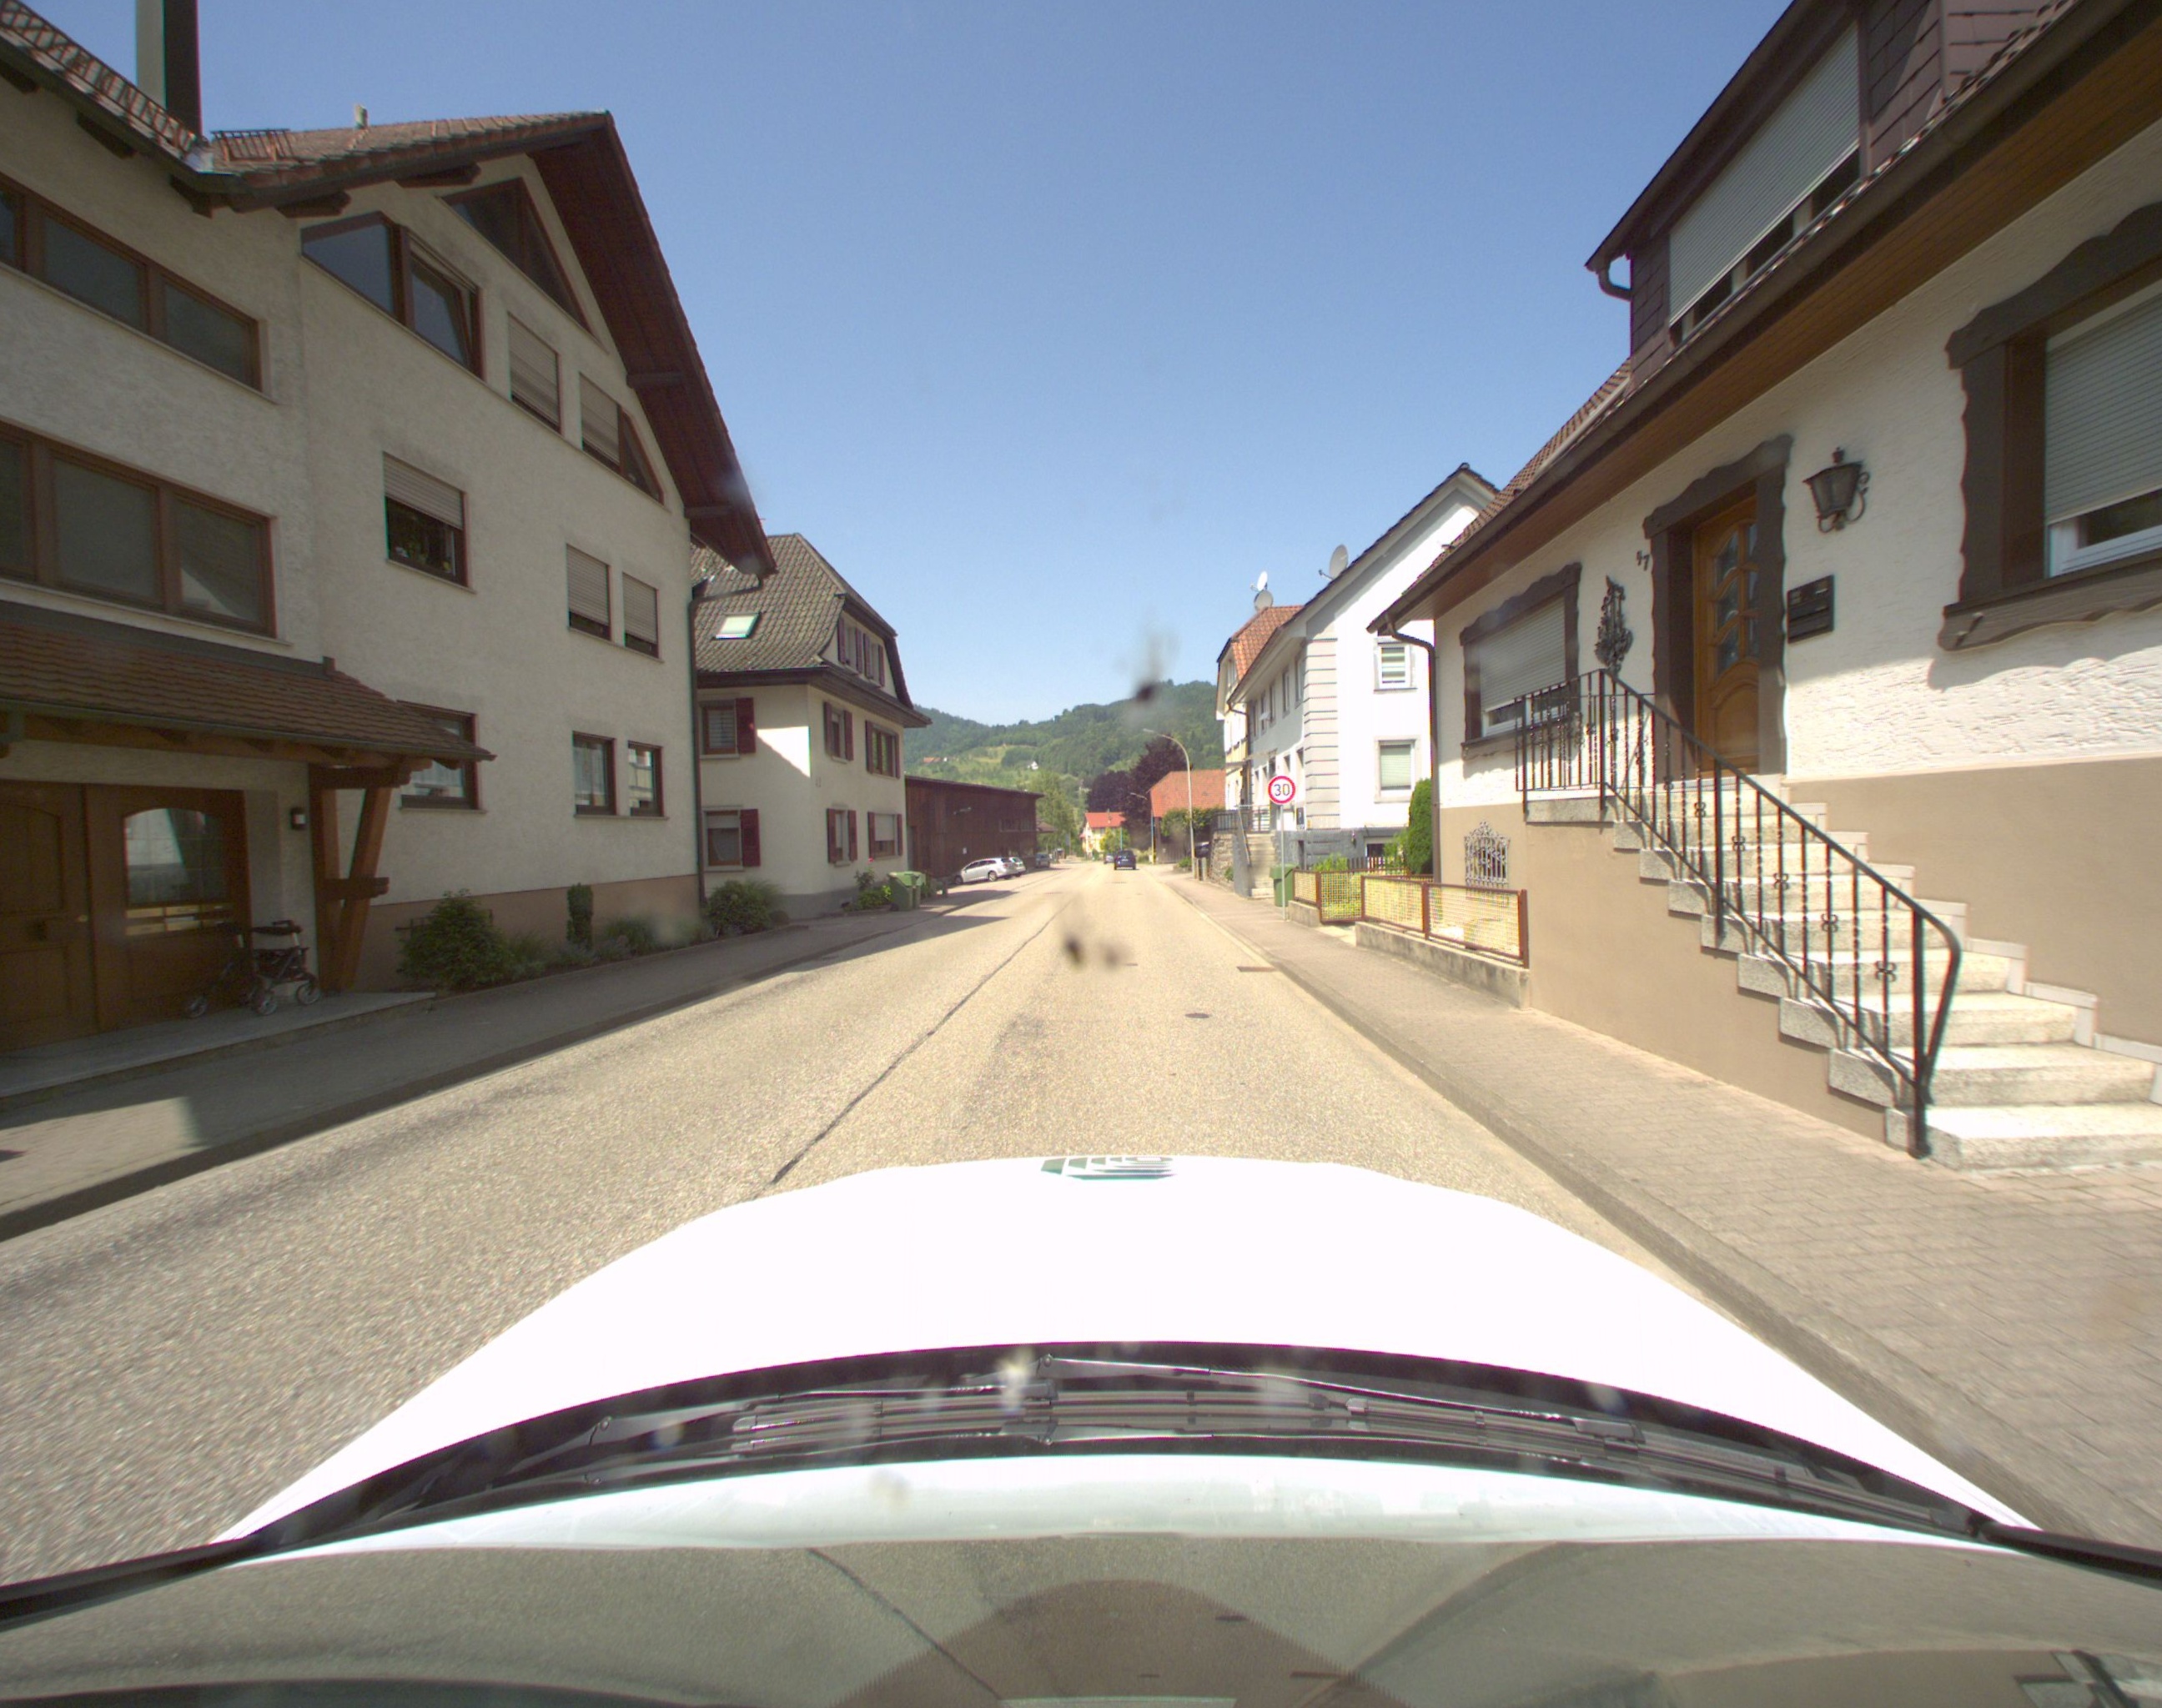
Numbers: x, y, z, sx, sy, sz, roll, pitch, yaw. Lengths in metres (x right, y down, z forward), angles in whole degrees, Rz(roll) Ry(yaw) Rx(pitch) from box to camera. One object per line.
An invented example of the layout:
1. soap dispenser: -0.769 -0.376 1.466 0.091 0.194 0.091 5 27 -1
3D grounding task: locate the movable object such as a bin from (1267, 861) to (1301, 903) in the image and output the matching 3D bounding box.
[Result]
1. movable object such as a bin: 5.201 0.716 20.883 0.701 1.020 0.618 -2 0 3

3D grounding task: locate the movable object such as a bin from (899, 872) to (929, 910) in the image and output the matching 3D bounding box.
1. movable object such as a bin: -4.843 1.064 23.647 0.673 1.067 0.621 -2 0 1

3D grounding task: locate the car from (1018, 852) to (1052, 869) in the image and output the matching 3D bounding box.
1. car: -4.487 0.649 80.249 1.715 1.454 4.826 -1 1 16

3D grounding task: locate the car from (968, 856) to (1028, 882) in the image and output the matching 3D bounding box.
1. car: -5.703 1.015 56.080 3.630 1.385 1.719 -6 -1 17

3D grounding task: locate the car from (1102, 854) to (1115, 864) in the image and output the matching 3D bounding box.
1. car: 3.767 0.701 112.151 1.473 1.209 2.382 -3 0 -2

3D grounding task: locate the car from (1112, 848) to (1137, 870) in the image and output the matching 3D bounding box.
1. car: 3.586 0.378 67.248 1.912 1.698 3.791 -3 0 2

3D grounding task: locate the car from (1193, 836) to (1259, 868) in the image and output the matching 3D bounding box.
1. car: 9.903 -0.144 55.884 4.200 1.687 1.780 -7 -1 6

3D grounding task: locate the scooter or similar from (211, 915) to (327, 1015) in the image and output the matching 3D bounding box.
1. scooter or similar: -7.353 0.992 7.397 0.503 0.826 0.537 -2 -1 1

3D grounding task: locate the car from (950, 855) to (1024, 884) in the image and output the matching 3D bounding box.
1. car: -6.162 1.035 53.244 4.387 1.474 1.936 -6 -1 28

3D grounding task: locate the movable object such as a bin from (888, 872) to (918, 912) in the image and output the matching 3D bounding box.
1. movable object such as a bin: -4.999 1.072 22.902 0.673 1.067 0.653 -2 0 1

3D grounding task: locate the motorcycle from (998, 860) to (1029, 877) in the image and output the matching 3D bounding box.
1. motorcycle: -5.509 1.206 66.630 2.392 1.264 0.746 -3 0 12
